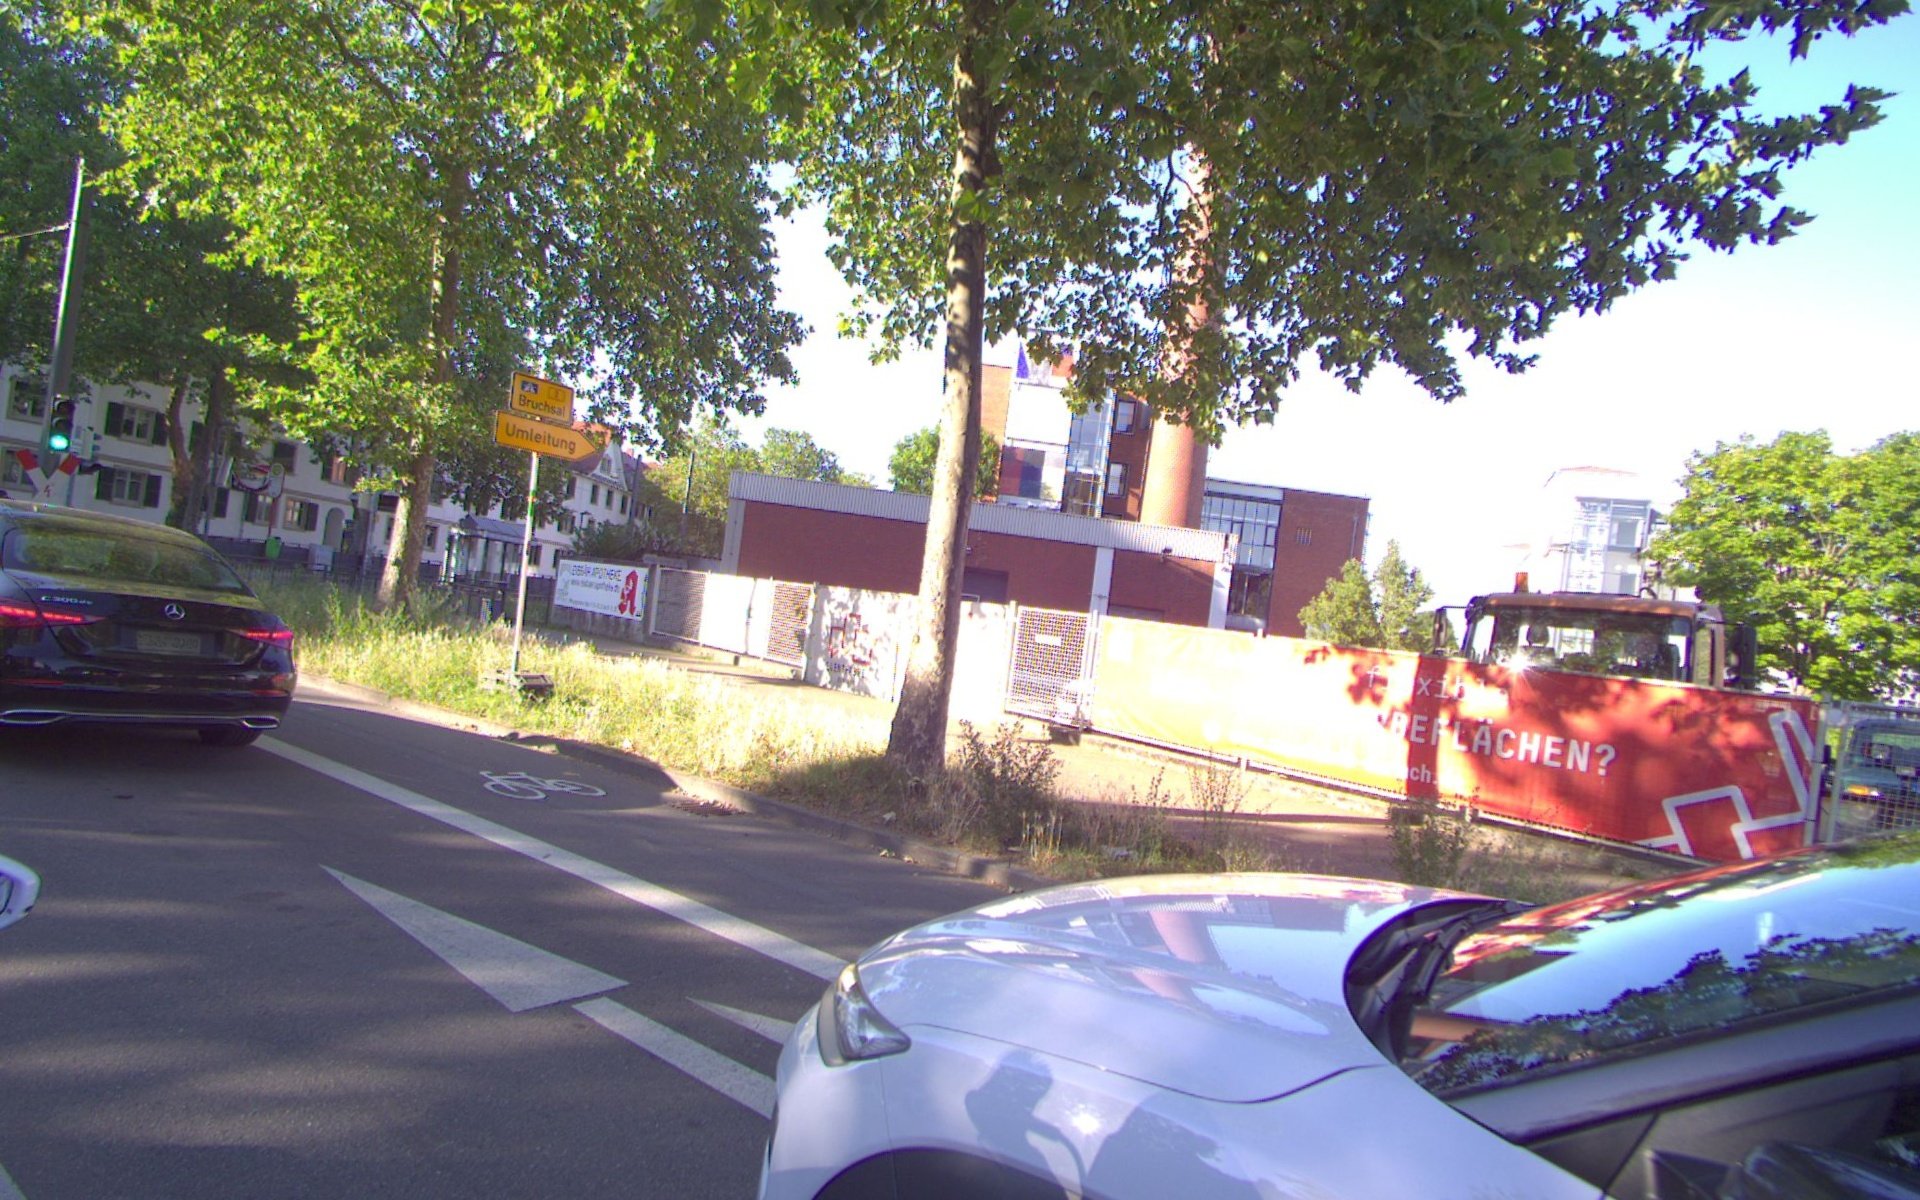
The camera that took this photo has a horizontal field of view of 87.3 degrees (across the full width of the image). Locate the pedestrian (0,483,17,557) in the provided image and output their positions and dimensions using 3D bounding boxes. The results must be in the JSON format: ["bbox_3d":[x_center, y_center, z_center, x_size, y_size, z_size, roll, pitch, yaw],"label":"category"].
[{"bbox_3d":[-25.856,-2.181,26.763,0.825,1.940,0.707,6,-1,28],"label":"pedestrian"}]

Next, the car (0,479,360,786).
[{"bbox_3d":[-6.302,0.007,6.901,4.309,1.508,1.893,9,-1,33],"label":"car"}]

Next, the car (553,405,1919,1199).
[{"bbox_3d":[1.559,0.857,1.223,3.901,1.616,1.893,9,-1,34],"label":"car"}]

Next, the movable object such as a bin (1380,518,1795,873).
[{"bbox_3d":[7.911,1.112,12.234,3.173,3.083,6.267,6,-3,41],"label":"movable object such as a bin"}]

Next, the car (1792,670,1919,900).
[{"bbox_3d":[9.841,1.886,9.972,2.016,1.849,4.584,5,-3,44],"label":"car"}]

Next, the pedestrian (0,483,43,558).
[{"bbox_3d":[-26.258,-2.209,27.983,0.825,1.940,0.707,6,-1,28],"label":"pedestrian"}]
